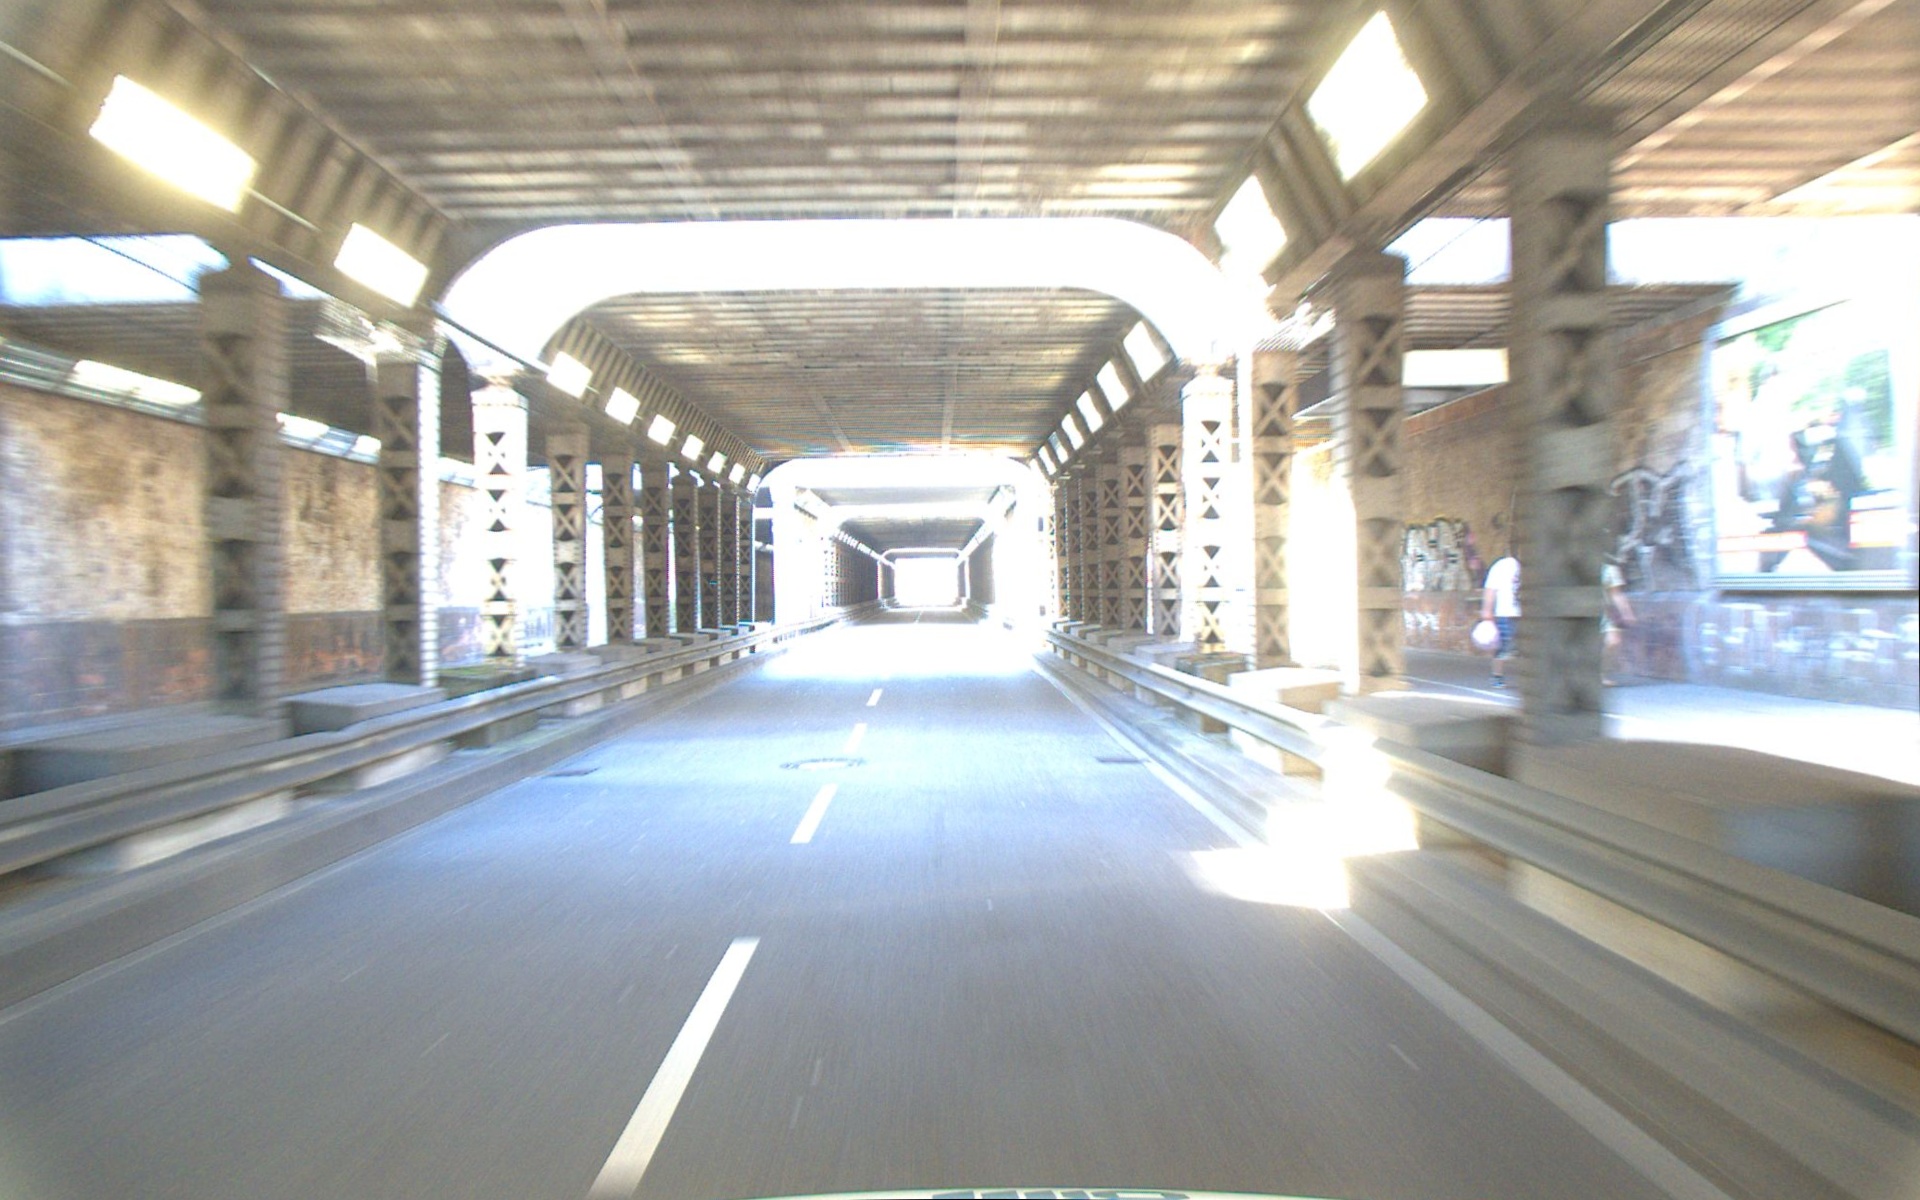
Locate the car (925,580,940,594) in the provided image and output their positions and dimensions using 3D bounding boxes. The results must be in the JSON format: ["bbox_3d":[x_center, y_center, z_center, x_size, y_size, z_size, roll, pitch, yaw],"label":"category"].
[{"bbox_3d":[-3.785,-1.740,226.077,1.953,1.815,3.999,-2,0,-1],"label":"car"}]

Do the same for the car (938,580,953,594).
[{"bbox_3d":[-1.897,-1.759,219.714,1.953,1.815,3.999,-2,0,-1],"label":"car"}]

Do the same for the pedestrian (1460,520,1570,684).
[{"bbox_3d":[6.633,0.022,19.803,0.863,1.867,0.922,-3,0,-4],"label":"pedestrian"}]

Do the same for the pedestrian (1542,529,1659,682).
[{"bbox_3d":[7.464,0.057,19.309,0.898,1.685,0.886,-3,0,-4],"label":"pedestrian"}]

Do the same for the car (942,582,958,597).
[{"bbox_3d":[-1.267,-1.289,210.602,1.953,1.815,3.999,-2,0,-1],"label":"car"}]
